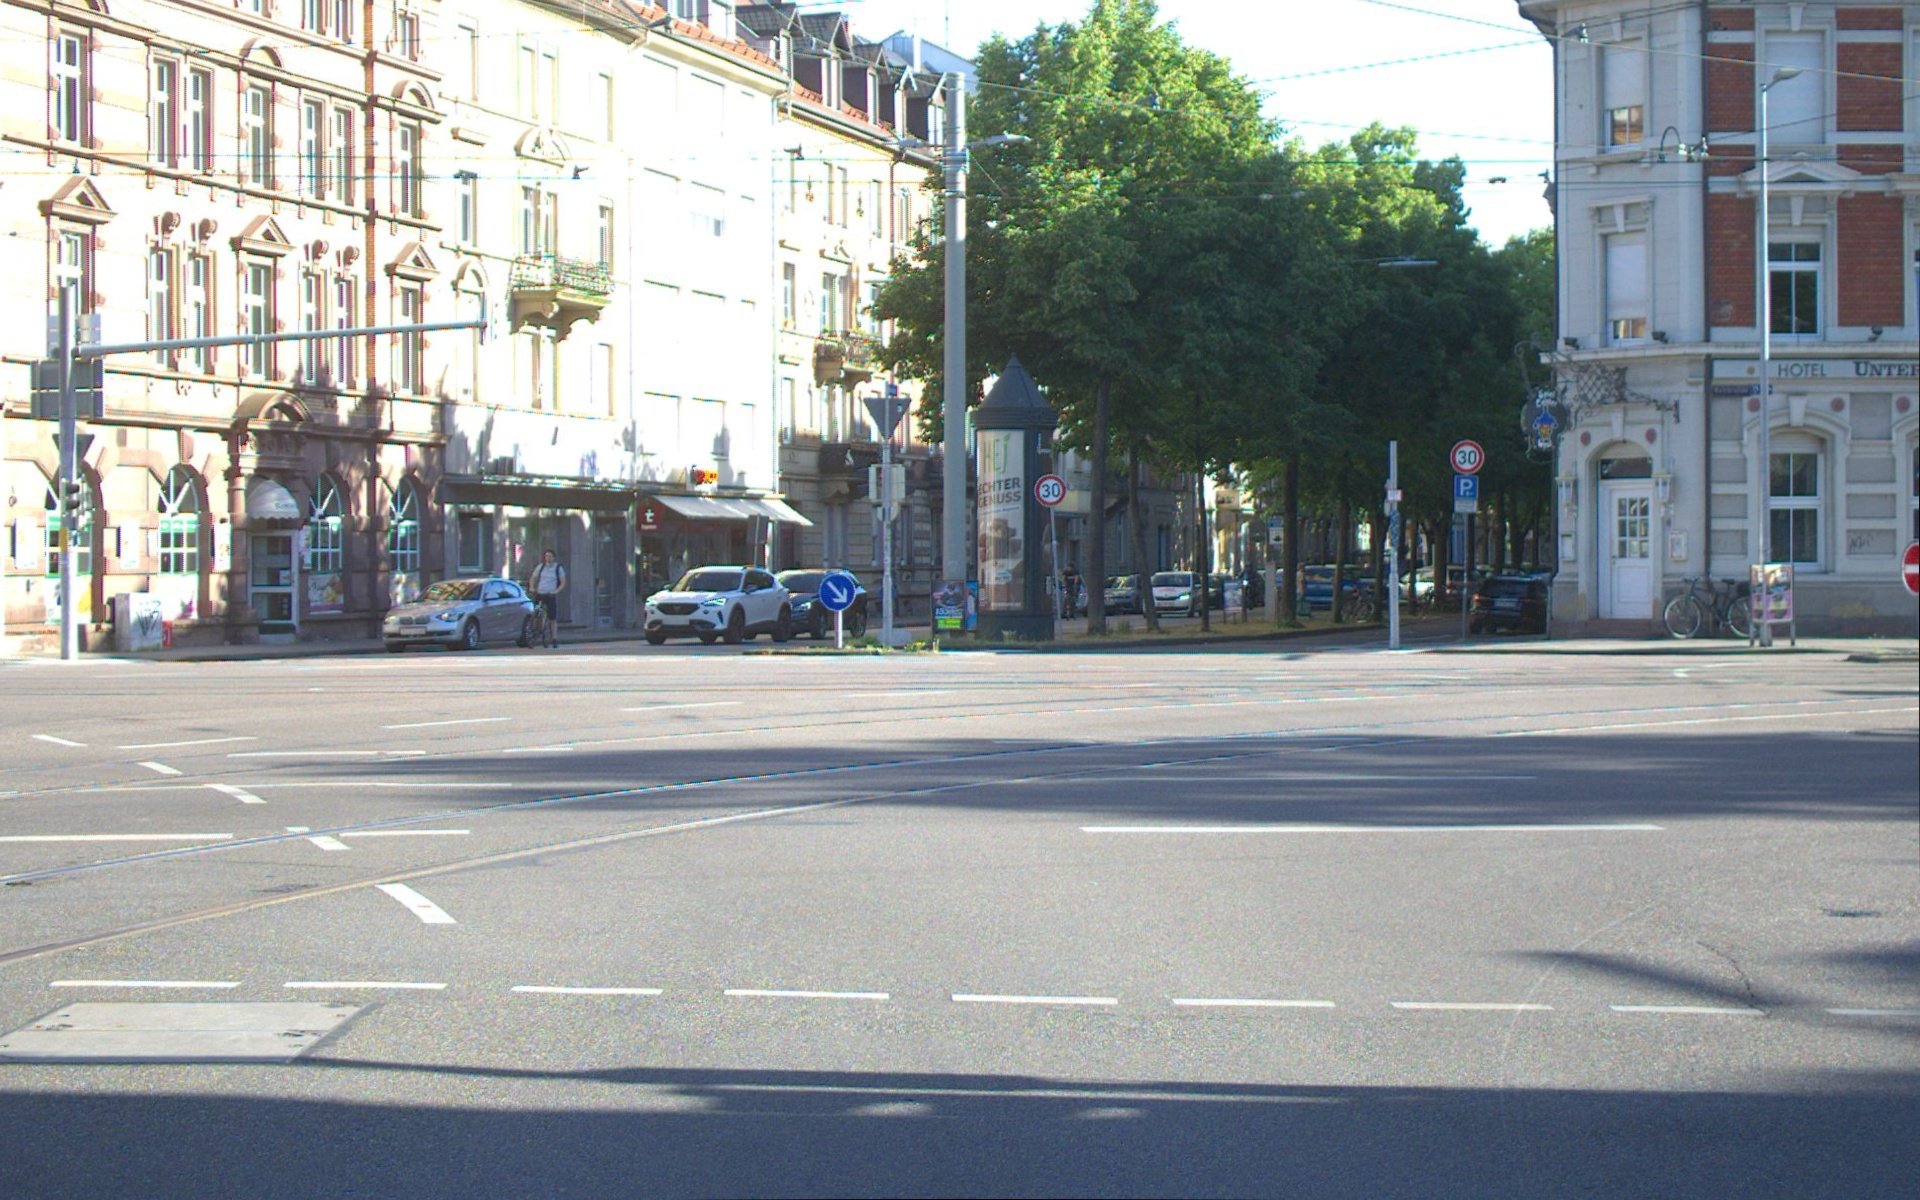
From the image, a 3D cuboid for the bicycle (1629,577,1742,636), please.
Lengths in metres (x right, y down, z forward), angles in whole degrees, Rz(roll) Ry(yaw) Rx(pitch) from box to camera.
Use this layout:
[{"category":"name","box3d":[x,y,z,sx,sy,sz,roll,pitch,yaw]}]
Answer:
[{"category":"bicycle","box3d":[12.065,0.102,57.133,1.804,0.959,0.603,1,0,14]}]

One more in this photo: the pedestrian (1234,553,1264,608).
[{"category":"pedestrian","box3d":[10.679,-0.730,126.951,0.944,2.007,0.826,1,0,14]}]

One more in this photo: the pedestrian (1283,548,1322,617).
[{"category":"pedestrian","box3d":[10.131,-0.517,101.740,0.961,2.007,0.919,1,0,-6]}]

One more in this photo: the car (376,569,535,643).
[{"category":"car","box3d":[-9.796,0.105,67.038,1.661,1.369,3.889,1,1,15]}]

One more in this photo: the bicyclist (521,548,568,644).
[{"category":"bicyclist","box3d":[-7.867,-0.078,65.061,0.565,1.797,0.913,1,0,15]}]

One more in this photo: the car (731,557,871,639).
[{"category":"car","box3d":[-3.366,-0.060,73.627,1.826,1.679,3.872,1,1,16]}]

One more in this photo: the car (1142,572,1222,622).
[{"category":"car","box3d":[7.167,-0.114,110.596,1.804,1.570,3.888,1,1,15]}]

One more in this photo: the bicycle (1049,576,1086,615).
[{"category":"bicycle","box3d":[3.339,-0.150,106.565,0.674,1.203,1.820,1,1,18]}]

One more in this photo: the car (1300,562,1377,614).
[{"category":"car","box3d":[12.844,-0.415,116.458,1.995,1.678,3.997,1,1,15]}]

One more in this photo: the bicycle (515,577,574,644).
[{"category":"bicycle","box3d":[-7.863,0.193,65.055,0.565,1.250,1.556,1,0,14]}]

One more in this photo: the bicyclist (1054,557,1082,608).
[{"category":"bicyclist","box3d":[3.344,-0.550,106.564,0.674,1.563,0.747,1,0,18]}]

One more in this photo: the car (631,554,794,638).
[{"category":"car","box3d":[-4.802,-0.089,67.279,1.804,1.579,4.156,1,1,17]}]

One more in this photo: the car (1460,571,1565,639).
[{"category":"car","box3d":[13.288,0.104,82.527,1.758,1.550,3.996,1,1,20]}]
